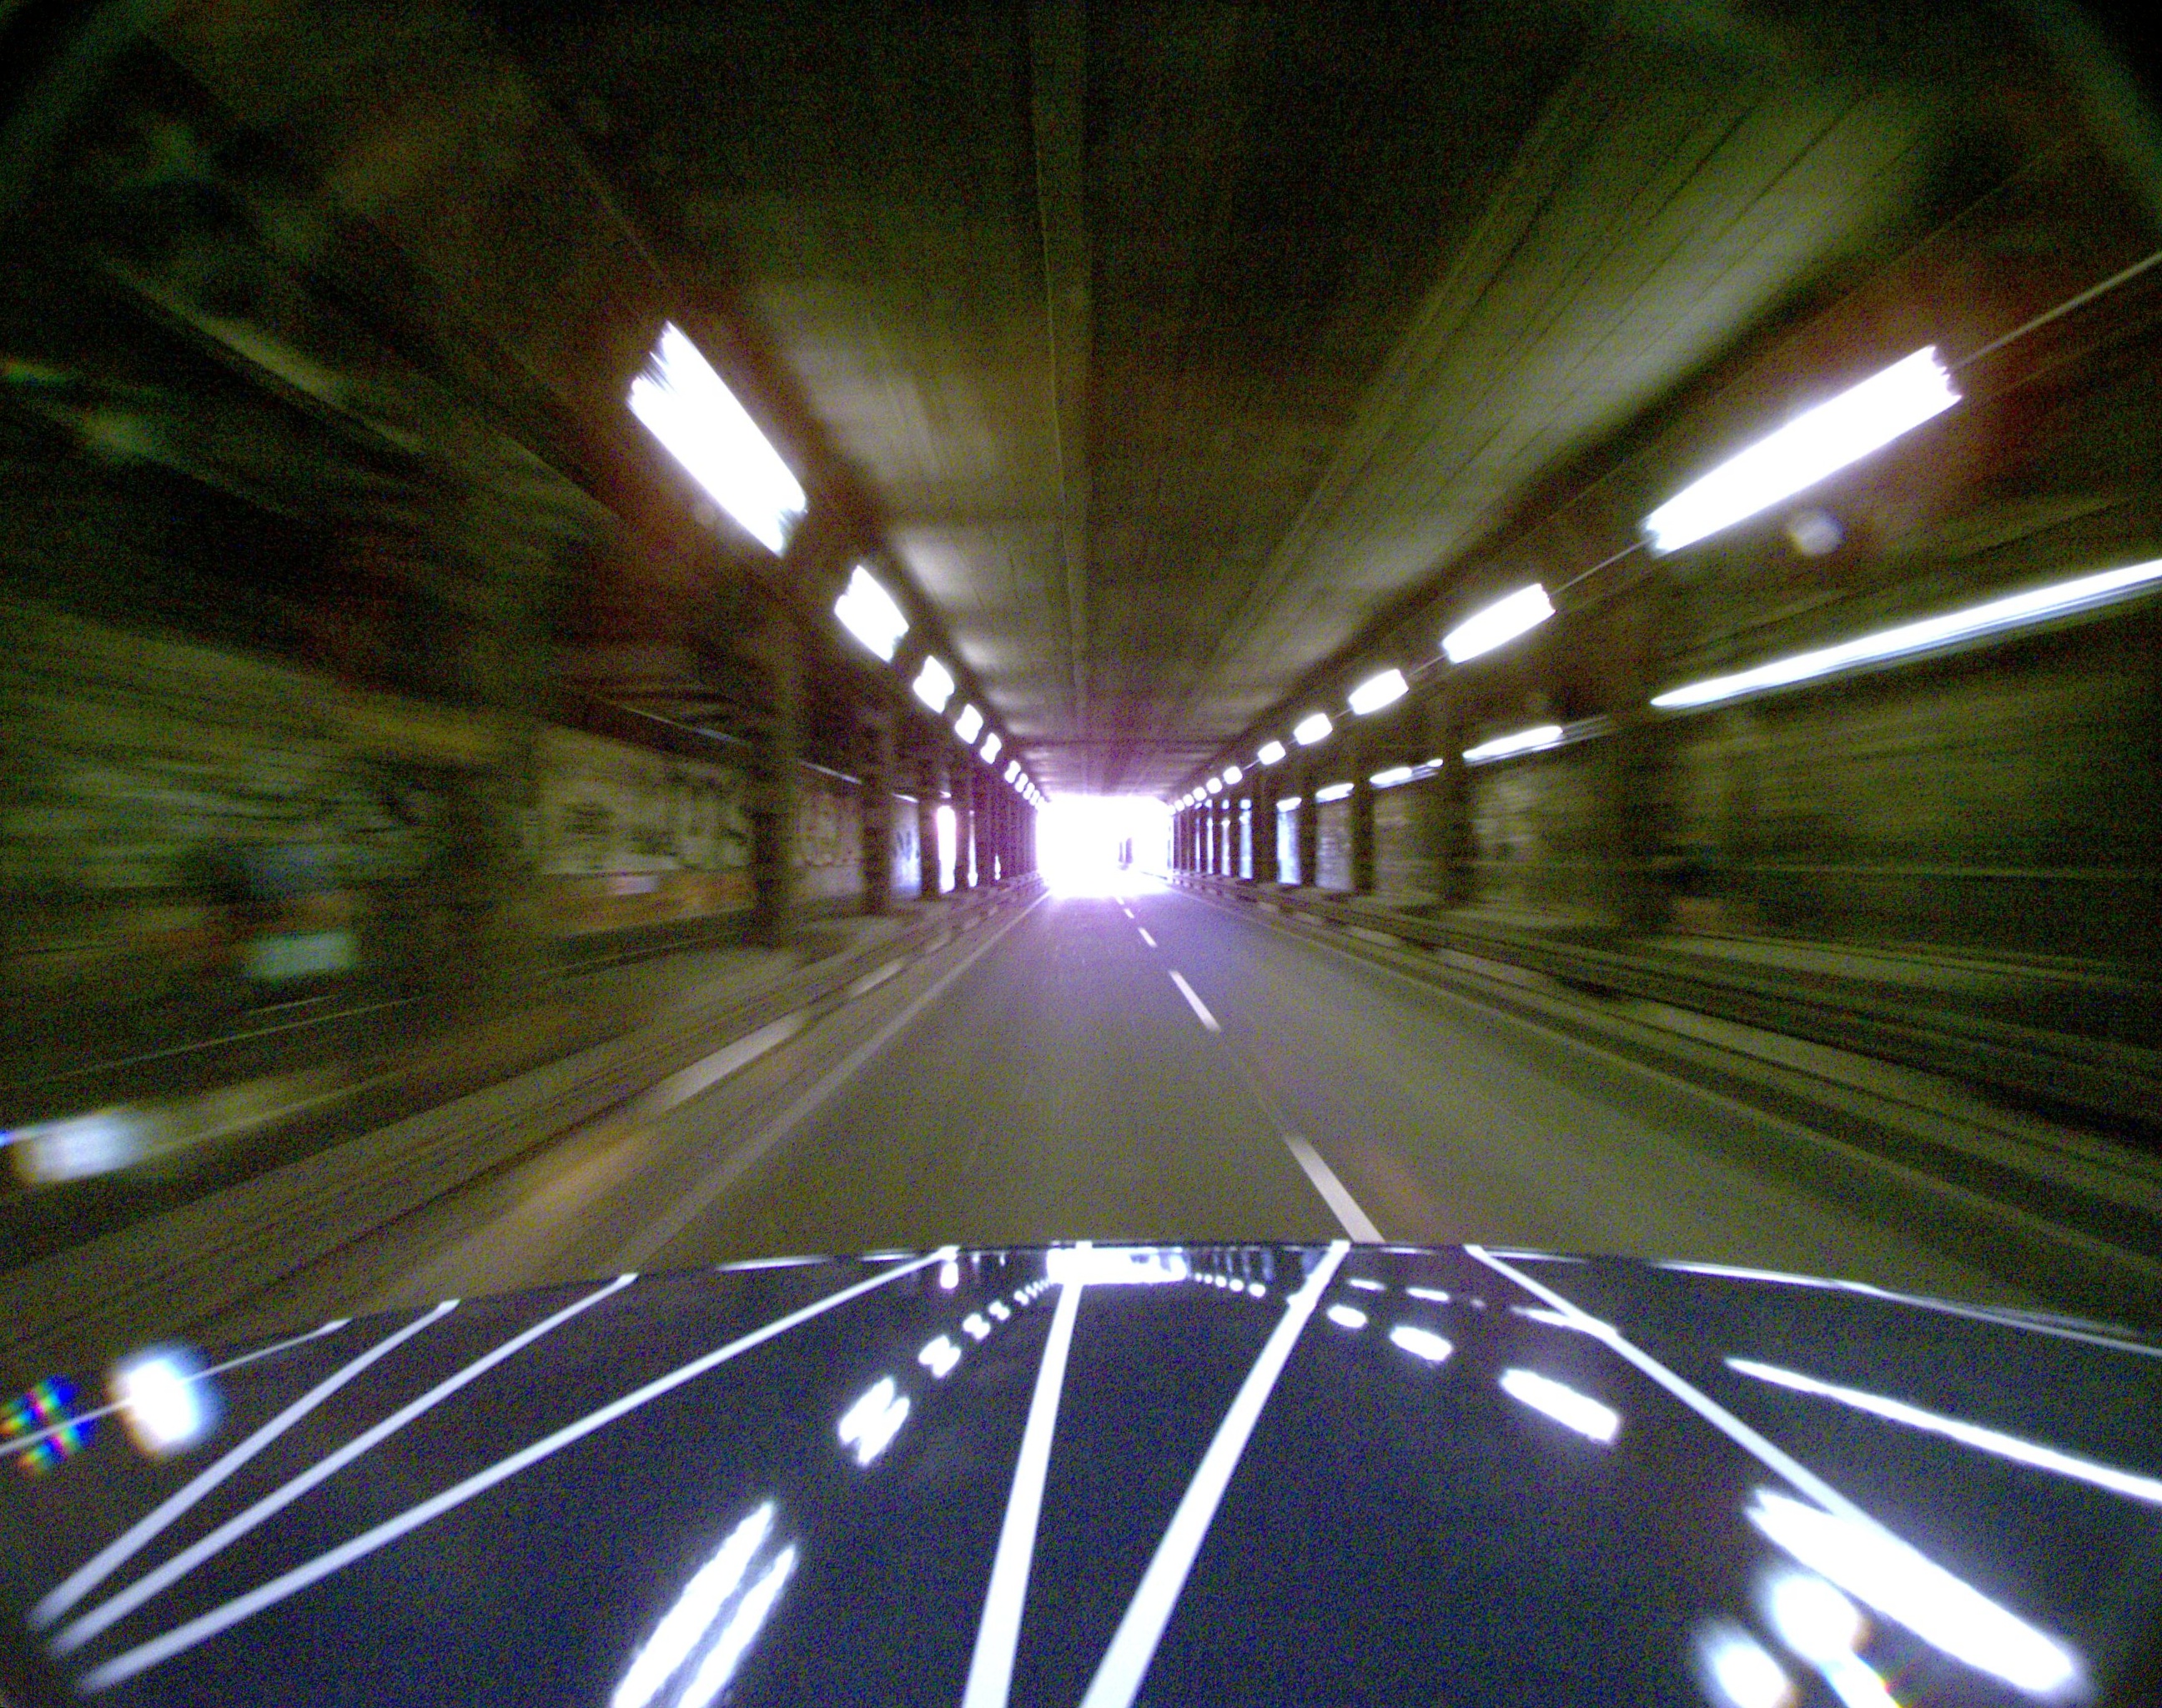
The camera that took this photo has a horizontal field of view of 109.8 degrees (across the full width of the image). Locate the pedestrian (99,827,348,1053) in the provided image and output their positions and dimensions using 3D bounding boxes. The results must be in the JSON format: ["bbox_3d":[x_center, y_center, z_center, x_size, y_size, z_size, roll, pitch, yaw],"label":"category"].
[{"bbox_3d":[-7.003,0.650,6.288,0.802,1.692,1.111,1,1,0],"label":"pedestrian"}]

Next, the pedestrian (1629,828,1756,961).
[{"bbox_3d":[9.869,0.607,12.339,0.961,2.044,1.355,-1,2,1],"label":"pedestrian"}]
